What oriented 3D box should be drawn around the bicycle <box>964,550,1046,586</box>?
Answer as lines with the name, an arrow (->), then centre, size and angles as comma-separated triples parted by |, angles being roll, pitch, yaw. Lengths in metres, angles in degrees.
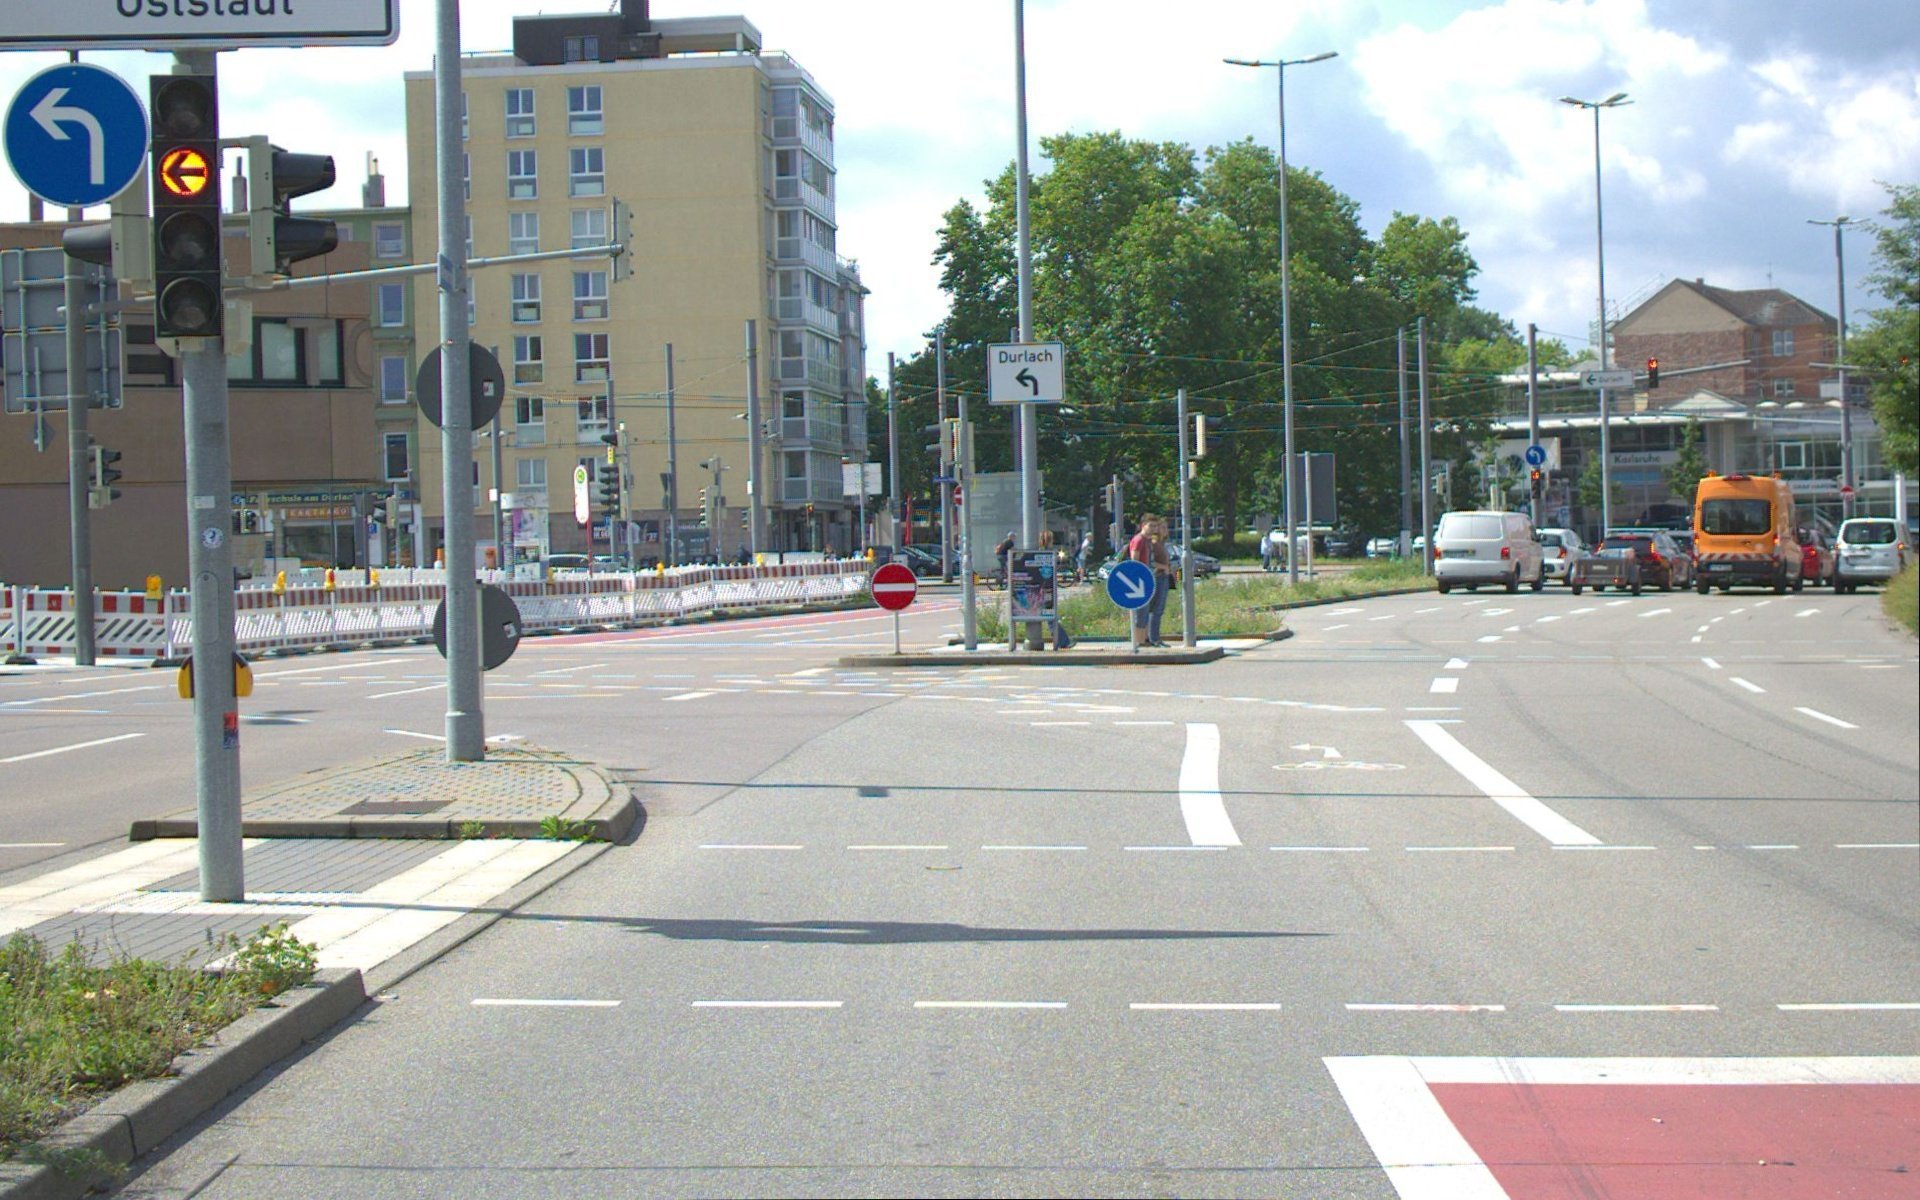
bicycle -> 1.413, -1.004, 108.040 | 2.381, 1.063, 0.858 | -1, 1, 19

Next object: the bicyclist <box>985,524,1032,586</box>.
bicyclist -> 1.524, -1.418, 107.995 | 1.220, 1.903, 0.858 | -1, 1, 19

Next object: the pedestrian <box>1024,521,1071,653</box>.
pedestrian -> 1.154, -0.177, 45.395 | 0.525, 1.727, 0.623 | -1, 1, 7

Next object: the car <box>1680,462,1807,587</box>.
car -> 18.404, -1.774, 80.644 | 2.132, 2.771, 4.634 | -2, 1, 22

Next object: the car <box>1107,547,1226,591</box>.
car -> 7.488, -1.119, 124.688 | 4.058, 1.475, 1.663 | 2, 2, 39

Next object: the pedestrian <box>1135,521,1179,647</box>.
pedestrian -> 2.660, -0.221, 46.424 | 0.525, 1.678, 0.623 | -1, 1, 7

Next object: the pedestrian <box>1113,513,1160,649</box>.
pedestrian -> 2.275, -0.249, 44.294 | 0.525, 1.727, 0.623 | -1, 1, 7

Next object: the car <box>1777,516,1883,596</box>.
car -> 22.459, -1.160, 88.627 | 1.994, 1.932, 4.634 | -2, 1, 22

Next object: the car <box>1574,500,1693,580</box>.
car -> 16.403, -1.474, 83.596 | 1.996, 1.820, 3.995 | -2, 1, 23

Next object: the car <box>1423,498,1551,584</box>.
car -> 12.728, -1.449, 82.856 | 2.008, 1.960, 4.634 | -2, 1, 22

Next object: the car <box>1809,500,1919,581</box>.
car -> 21.196, -1.409, 80.284 | 1.996, 1.788, 3.995 | -2, 1, 23

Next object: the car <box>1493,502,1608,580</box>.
car -> 15.564, -1.567, 90.430 | 1.994, 1.932, 4.634 | -2, 1, 22

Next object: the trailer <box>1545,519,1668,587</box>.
trailer -> 15.171, -1.118, 80.537 | 1.996, 1.472, 3.995 | -2, 1, 23
